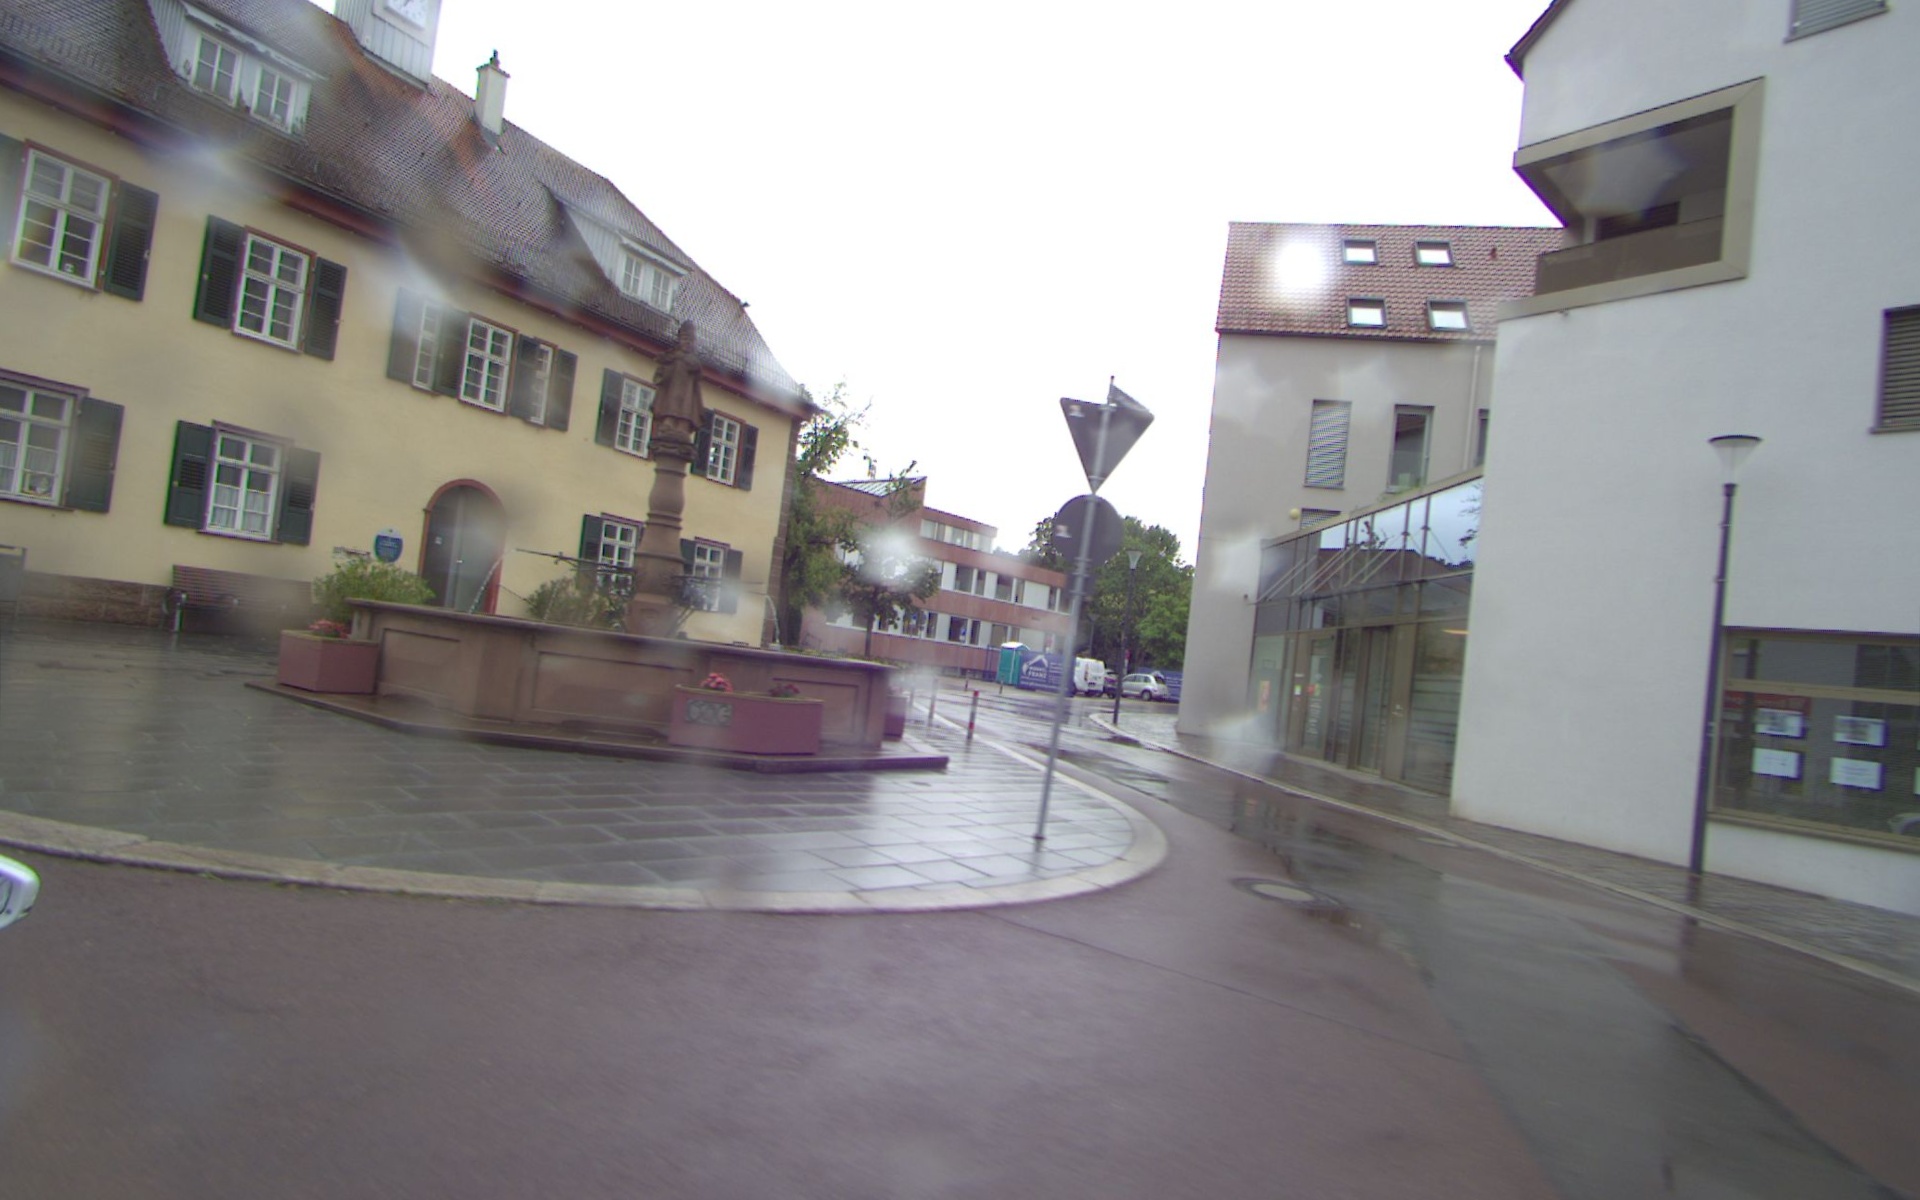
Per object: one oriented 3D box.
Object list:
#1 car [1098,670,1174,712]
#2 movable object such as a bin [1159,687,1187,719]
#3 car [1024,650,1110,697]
[{"bbox_3d":[10.697,5.528,61.279,4.080,1.947,1.723,6,-2,36],"label":"car"},{"bbox_3d":[9.138,4.425,43.153,0.767,1.273,1.016,6,-2,33],"label":"movable object such as a bin"},{"bbox_3d":[5.753,3.956,54.225,4.081,1.947,1.903,6,-2,36],"label":"car"}]
